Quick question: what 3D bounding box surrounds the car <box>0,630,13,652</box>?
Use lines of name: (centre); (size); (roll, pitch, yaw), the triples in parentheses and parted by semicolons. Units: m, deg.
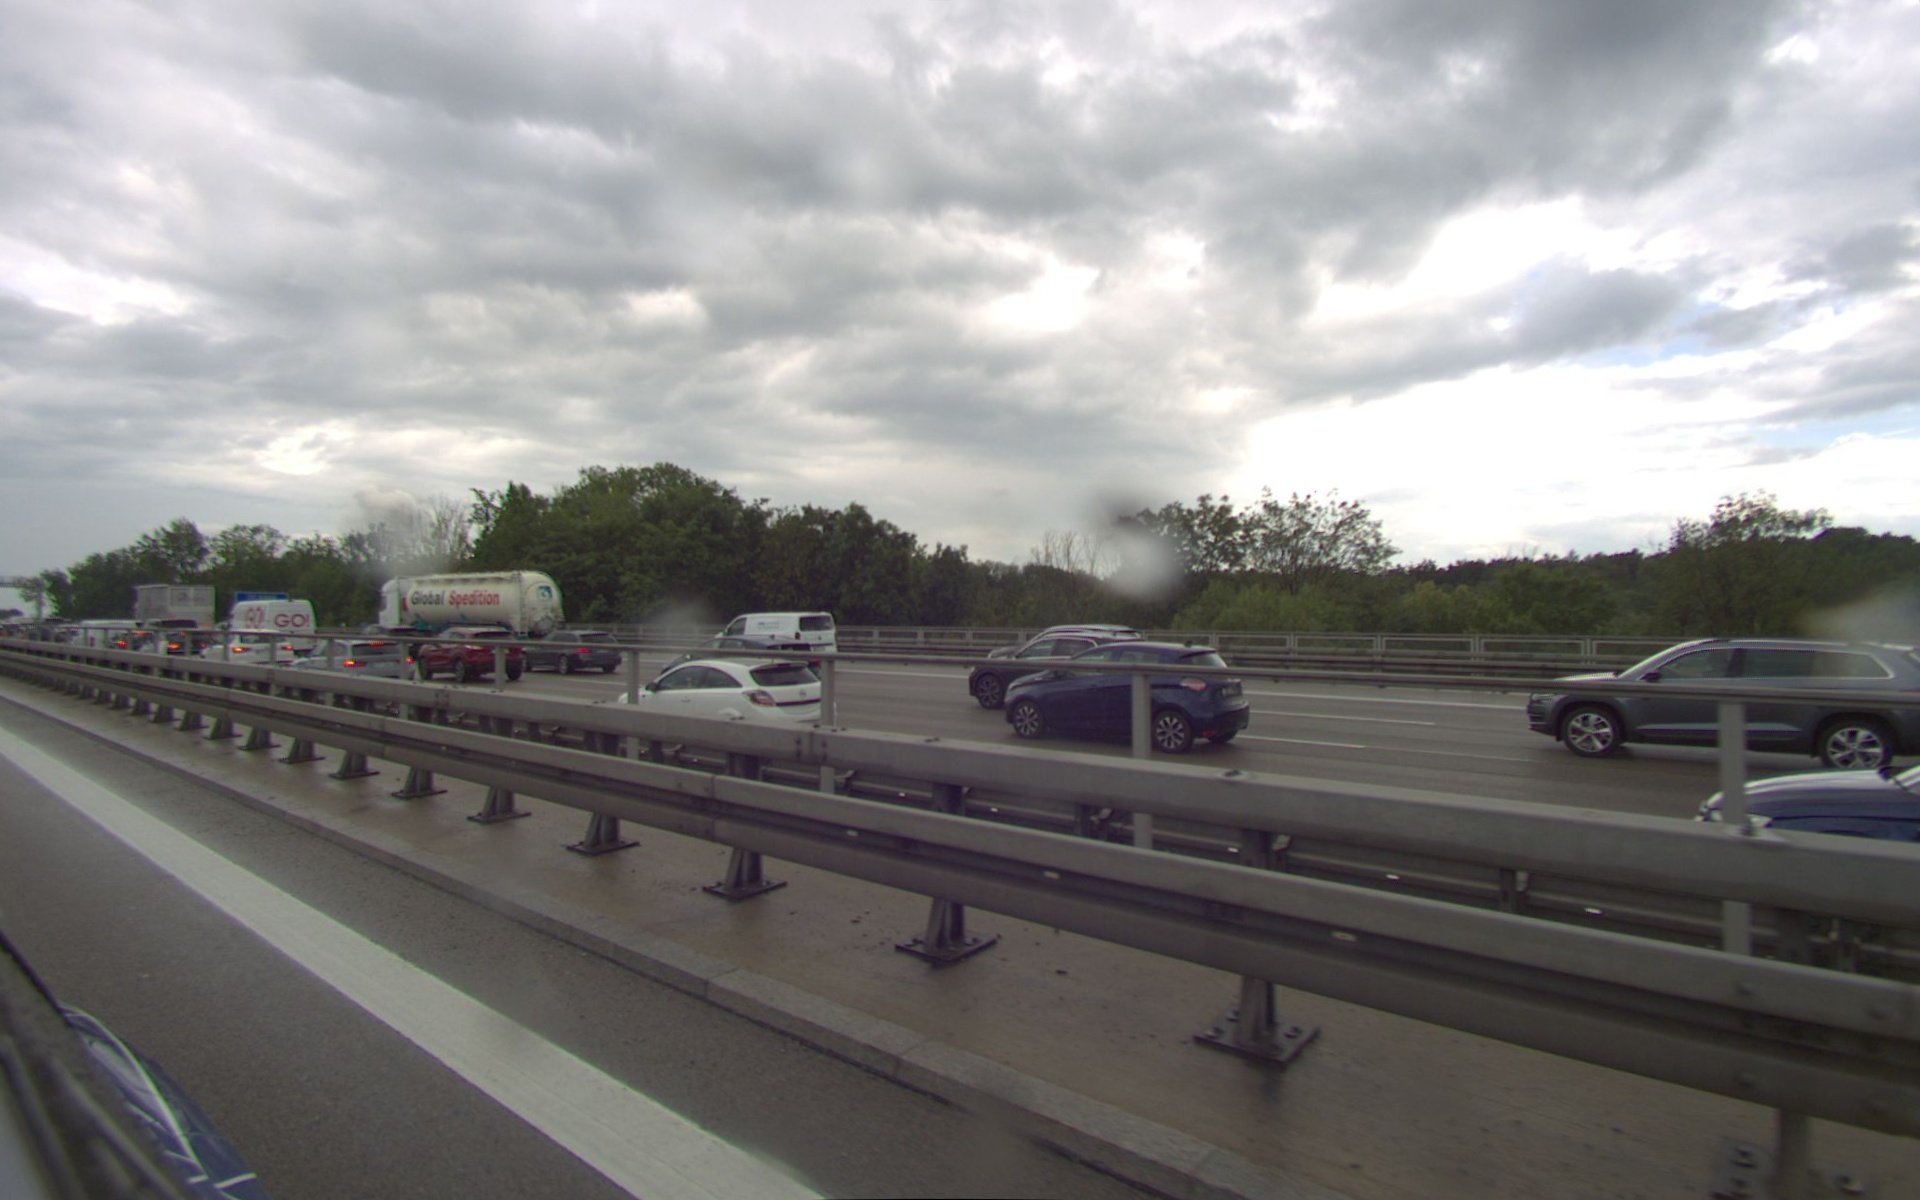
car: (-66.007, 2.784, 68.933); (4.031, 1.484, 1.735); (-1, -2, 40)

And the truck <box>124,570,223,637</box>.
truck: (-54.731, 0.363, 70.283); (10.861, 4.325, 3.225); (-1, -2, 41)

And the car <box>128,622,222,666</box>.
car: (-28.856, 1.586, 37.161); (4.598, 1.522, 1.772); (-1, -2, 40)

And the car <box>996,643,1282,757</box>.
car: (2.703, 1.441, 15.748); (4.029, 1.486, 1.813); (-1, -2, 40)

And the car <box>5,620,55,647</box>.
car: (-53.873, 1.927, 58.602); (3.997, 1.517, 1.652); (-1, -2, 40)

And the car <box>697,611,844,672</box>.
car: (-6.553, 1.366, 34.550); (5.417, 1.959, 1.982); (-1, -2, 41)

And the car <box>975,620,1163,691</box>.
car: (2.690, 1.350, 25.815); (4.667, 1.660, 1.669); (-1, -2, 41)

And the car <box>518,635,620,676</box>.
car: (-13.247, 1.836, 34.185); (3.997, 1.277, 1.482); (-1, -2, 41)

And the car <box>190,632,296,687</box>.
car: (-23.503, 1.872, 33.108); (4.925, 1.640, 1.771); (-1, -2, 42)

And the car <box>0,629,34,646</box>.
car: (-86.590, 3.423, 92.824); (3.997, 1.524, 1.999); (-1, -2, 40)

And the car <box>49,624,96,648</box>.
car: (-62.695, 2.517, 71.474); (4.418, 1.628, 1.907); (-1, -2, 40)

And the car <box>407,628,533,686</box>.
car: (-15.091, 1.691, 31.057); (4.415, 1.660, 1.813); (-1, -2, 40)

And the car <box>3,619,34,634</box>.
car: (-101.657, 2.855, 109.231); (3.997, 1.524, 1.999); (-1, -2, 40)

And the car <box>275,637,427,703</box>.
car: (-16.096, 1.770, 26.633); (5.068, 1.526, 1.932); (-1, -2, 41)

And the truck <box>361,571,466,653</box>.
truck: (-28.415, 0.682, 52.496); (6.978, 3.995, 2.436); (-1, -2, 41)

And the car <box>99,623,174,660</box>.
car: (-34.881, 1.717, 42.811); (4.222, 1.500, 1.663); (-1, -2, 40)

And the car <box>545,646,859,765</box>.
car: (-4.322, 1.531, 16.209); (5.920, 1.486, 1.813); (-1, -2, 41)

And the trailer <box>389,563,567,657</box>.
trailer: (-23.115, 0.550, 47.928); (13.210, 3.988, 2.436); (-1, -2, 41)

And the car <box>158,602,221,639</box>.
car: (-40.049, 1.059, 52.578); (4.111, 1.854, 1.688); (-1, -2, 40)

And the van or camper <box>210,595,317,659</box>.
van or camper: (-30.810, 1.156, 44.651); (7.453, 2.624, 2.013); (-1, -2, 41)

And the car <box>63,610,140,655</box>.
car: (-39.993, 1.502, 47.104); (5.033, 2.001, 1.835); (-1, -2, 40)

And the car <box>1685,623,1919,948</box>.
car: (7.360, 1.121, 6.117); (4.720, 1.964, 1.929); (-1, -2, 39)

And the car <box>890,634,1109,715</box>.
car: (0.767, 1.508, 21.766); (4.581, 1.523, 1.813); (-1, -2, 40)

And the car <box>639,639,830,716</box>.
car: (-5.085, 1.629, 22.488); (4.574, 1.486, 1.812); (-1, -2, 41)

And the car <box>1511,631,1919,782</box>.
car: (10.383, 1.286, 13.505); (5.062, 1.722, 1.813); (-1, -2, 40)

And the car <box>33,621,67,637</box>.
car: (-89.940, 2.840, 100.016); (3.997, 1.524, 1.999); (-1, -2, 40)

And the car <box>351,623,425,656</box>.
car: (-25.310, 1.713, 44.731); (4.320, 1.376, 1.482); (-1, -2, 41)
